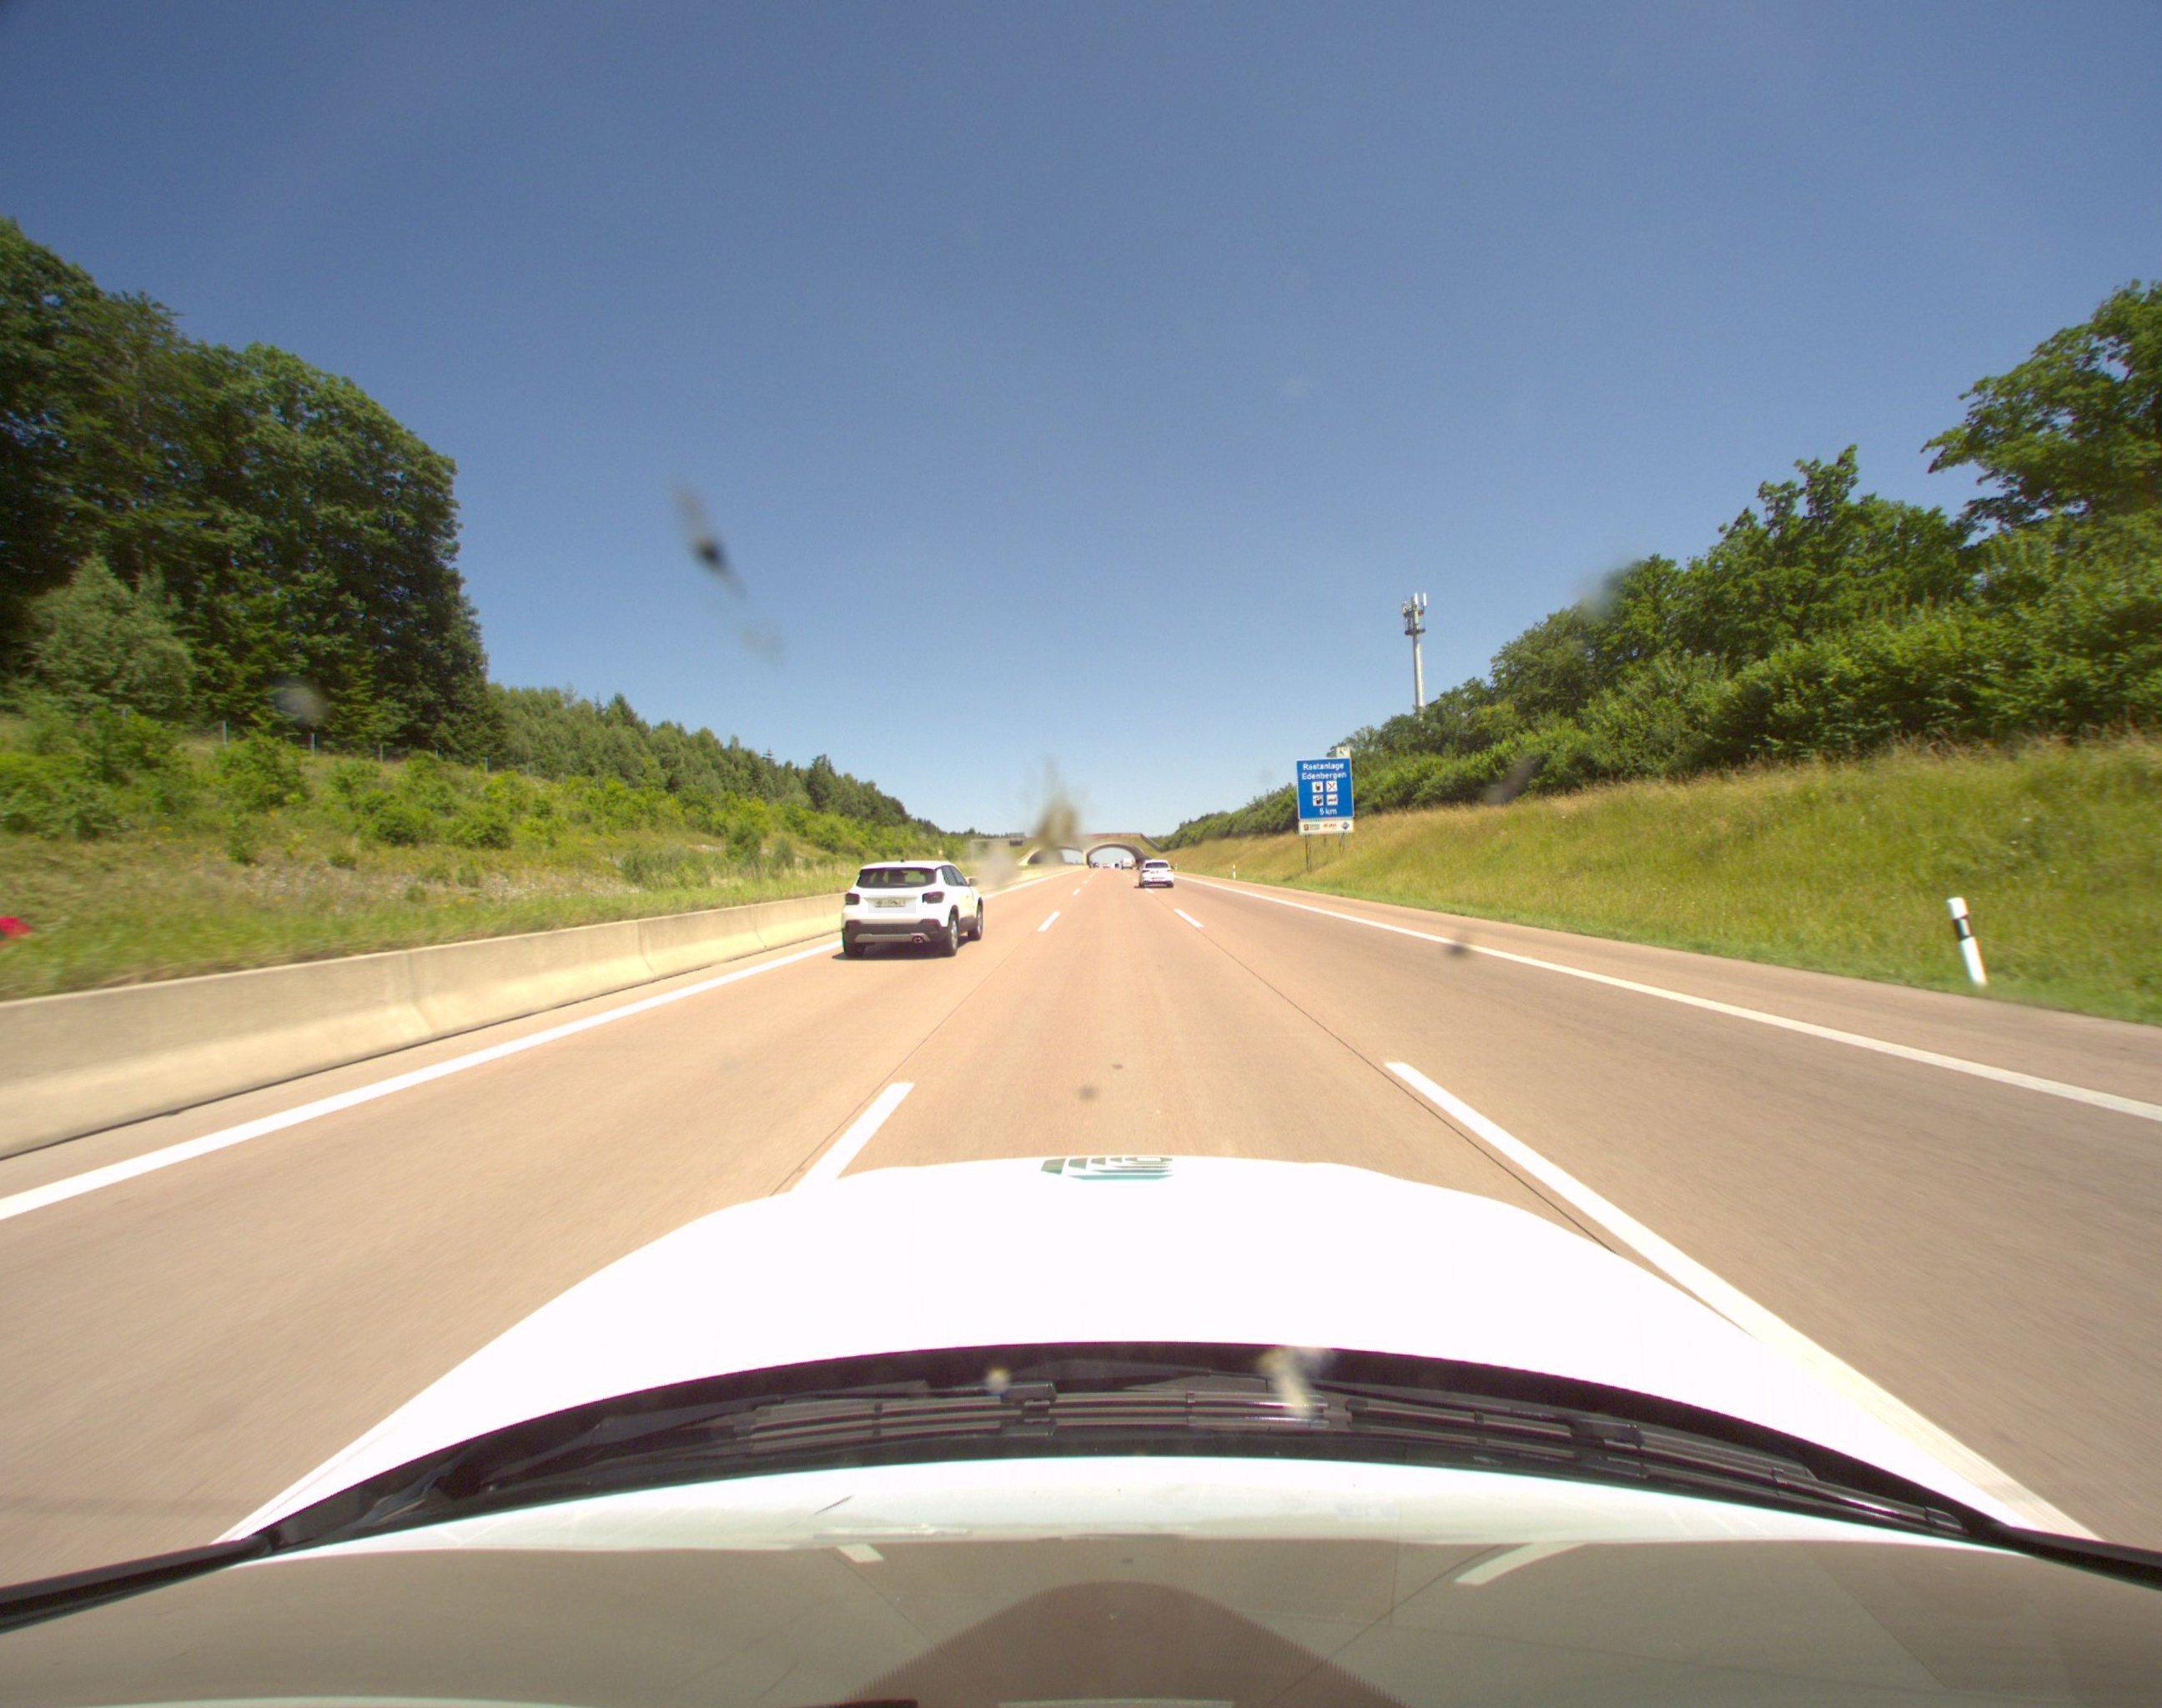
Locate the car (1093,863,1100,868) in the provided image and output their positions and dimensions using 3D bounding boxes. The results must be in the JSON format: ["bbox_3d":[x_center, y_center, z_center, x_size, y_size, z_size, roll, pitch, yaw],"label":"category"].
[{"bbox_3d":[4.920,3.492,258.414,1.882,1.463,4.004,-1,0,4],"label":"car"}]

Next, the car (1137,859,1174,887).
[{"bbox_3d":[3.902,0.980,43.274,1.882,1.398,4.004,0,0,4],"label":"car"}]

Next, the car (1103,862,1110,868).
[{"bbox_3d":[7.051,3.071,224.972,1.883,1.463,4.002,0,0,2],"label":"car"}]

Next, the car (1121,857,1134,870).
[{"bbox_3d":[7.923,1.657,139.166,2.101,2.054,4.004,-1,0,4],"label":"car"}]

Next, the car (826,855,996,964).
[{"bbox_3d":[-2.803,0.837,14.610,1.872,1.607,4.835,-1,0,2],"label":"car"}]

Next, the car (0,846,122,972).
[{"bbox_3d":[-18.607,0.918,12.632,1.885,2.064,4.662,-1,0,0],"label":"car"}]
